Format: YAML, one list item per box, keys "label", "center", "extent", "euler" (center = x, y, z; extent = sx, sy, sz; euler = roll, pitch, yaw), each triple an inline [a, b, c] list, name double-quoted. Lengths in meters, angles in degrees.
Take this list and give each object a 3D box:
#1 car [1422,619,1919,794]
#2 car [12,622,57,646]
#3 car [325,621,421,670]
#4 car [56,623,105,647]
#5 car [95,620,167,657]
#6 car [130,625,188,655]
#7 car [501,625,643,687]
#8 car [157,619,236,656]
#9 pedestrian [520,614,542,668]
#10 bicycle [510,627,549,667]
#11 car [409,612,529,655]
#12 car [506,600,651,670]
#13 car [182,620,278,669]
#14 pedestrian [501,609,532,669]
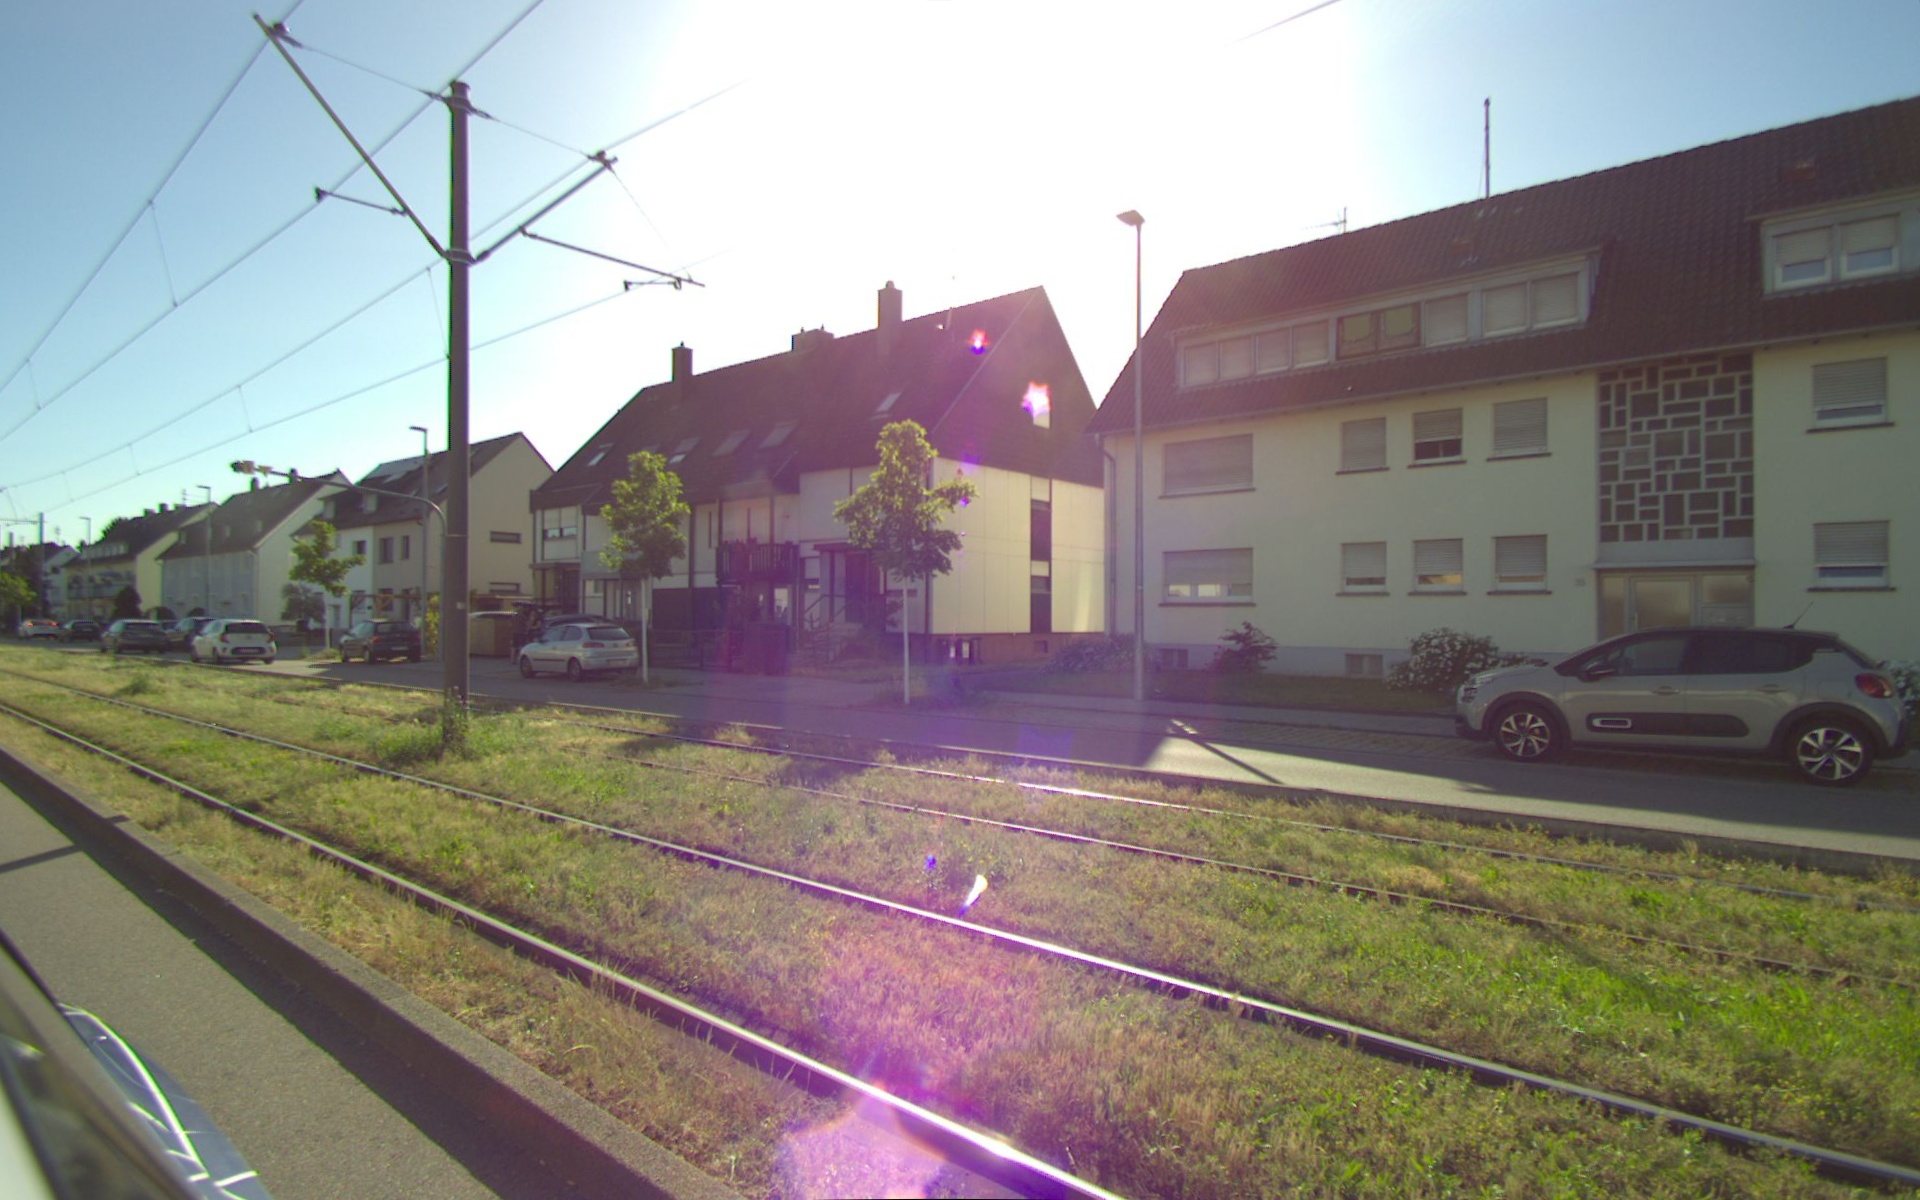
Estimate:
- label: "car"
  center: [7.454, 0.968, 10.804]
  extent: [4.311, 1.484, 1.671]
  euler: [-1, 0, 40]
- label: "car"
  center: [-65.122, 2.370, 71.169]
  extent: [4.089, 1.542, 1.809]
  euler: [-1, 0, 40]
- label: "car"
  center: [-19.849, 1.481, 34.177]
  extent: [4.083, 1.523, 1.602]
  euler: [-1, -1, 42]
- label: "car"
  center: [-55.675, 2.166, 64.043]
  extent: [4.089, 1.408, 1.683]
  euler: [-1, 0, 40]
- label: "car"
  center: [-35.861, 1.634, 43.735]
  extent: [4.080, 1.486, 1.671]
  euler: [-1, 0, 40]
- label: "car"
  center: [-40.456, 2.012, 51.101]
  extent: [3.994, 1.479, 1.451]
  euler: [-2, -3, 39]
- label: "car"
  center: [-10.060, 1.378, 26.090]
  extent: [4.099, 1.447, 1.641]
  euler: [-1, -1, 40]
- label: "car"
  center: [-36.205, 1.741, 47.930]
  extent: [4.854, 1.572, 1.902]
  euler: [-1, 0, 39]
- label: "pedestrian"
  center: [-13.942, 1.322, 32.892]
  extent: [0.544, 1.701, 0.625]
  euler: [-1, 0, -34]
- label: "bicycle"
  center: [-13.581, 1.467, 31.904]
  extent: [0.471, 1.172, 1.873]
  euler: [-1, 0, -44]
- label: "car"
  center: [-21.570, 1.454, 44.604]
  extent: [1.968, 1.797, 4.348]
  euler: [-2, -2, 40]
- label: "car"
  center: [-13.278, 1.149, 35.432]
  extent: [1.786, 2.096, 4.415]
  euler: [-1, 2, 41]
- label: "car"
  center: [-24.189, 1.458, 33.508]
  extent: [3.676, 1.487, 1.671]
  euler: [-1, -3, 40]
- label: "pedestrian"
  center: [-13.838, 1.197, 31.589]
  extent: [0.676, 1.829, 0.610]
  euler: [-1, 0, 32]
